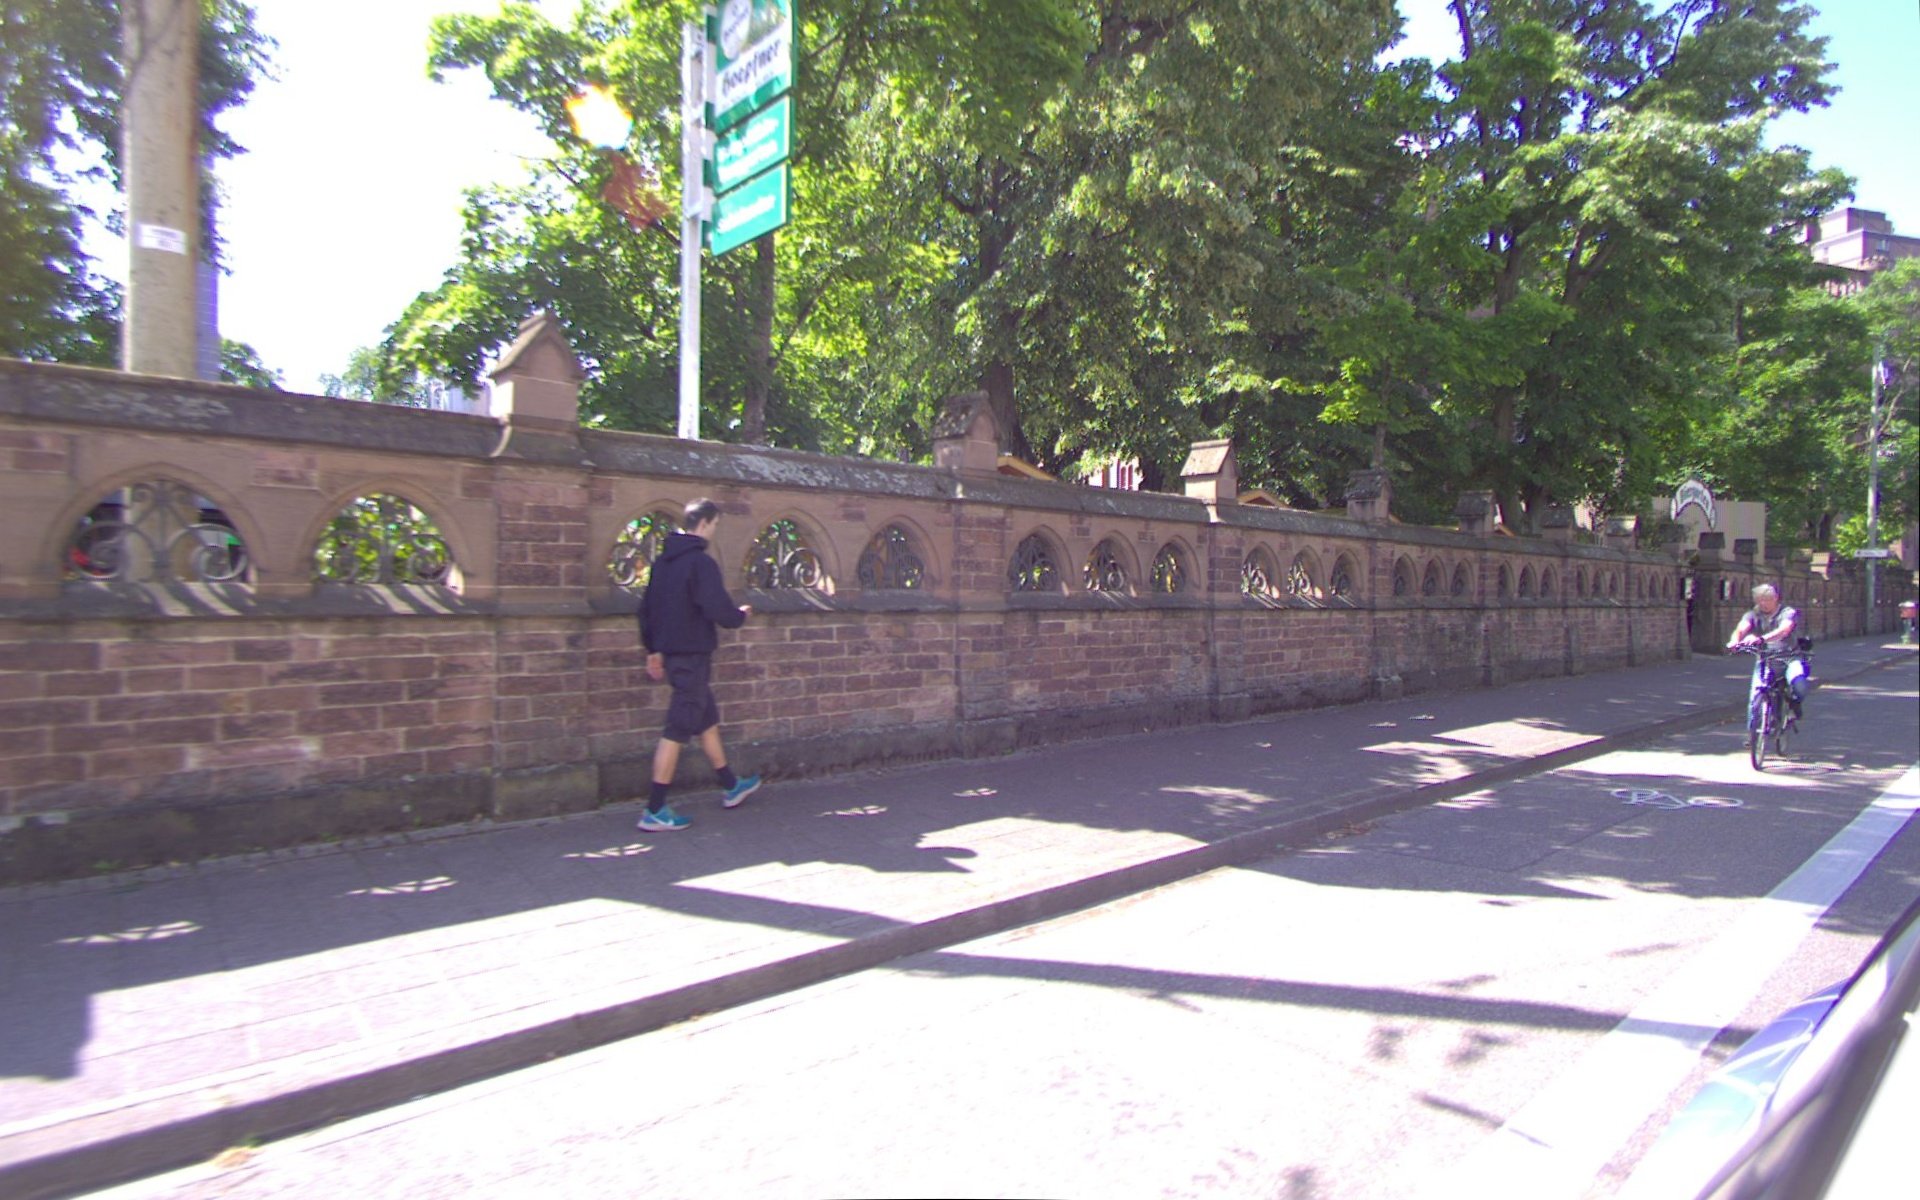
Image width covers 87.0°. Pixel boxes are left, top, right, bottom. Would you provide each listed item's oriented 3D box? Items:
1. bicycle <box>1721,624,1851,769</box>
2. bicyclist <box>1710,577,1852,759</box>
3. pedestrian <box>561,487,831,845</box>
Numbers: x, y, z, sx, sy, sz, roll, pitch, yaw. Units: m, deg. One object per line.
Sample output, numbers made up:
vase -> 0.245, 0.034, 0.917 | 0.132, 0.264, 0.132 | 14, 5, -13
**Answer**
bicycle -> 7.931, 0.860, 9.686 | 2.087, 1.212, 0.610 | 0, -2, -42
bicyclist -> 7.829, 0.597, 9.652 | 0.948, 1.615, 0.905 | 1, 0, -41
pedestrian -> -1.548, 0.305, 5.914 | 1.164, 1.837, 0.979 | 1, 4, -40
